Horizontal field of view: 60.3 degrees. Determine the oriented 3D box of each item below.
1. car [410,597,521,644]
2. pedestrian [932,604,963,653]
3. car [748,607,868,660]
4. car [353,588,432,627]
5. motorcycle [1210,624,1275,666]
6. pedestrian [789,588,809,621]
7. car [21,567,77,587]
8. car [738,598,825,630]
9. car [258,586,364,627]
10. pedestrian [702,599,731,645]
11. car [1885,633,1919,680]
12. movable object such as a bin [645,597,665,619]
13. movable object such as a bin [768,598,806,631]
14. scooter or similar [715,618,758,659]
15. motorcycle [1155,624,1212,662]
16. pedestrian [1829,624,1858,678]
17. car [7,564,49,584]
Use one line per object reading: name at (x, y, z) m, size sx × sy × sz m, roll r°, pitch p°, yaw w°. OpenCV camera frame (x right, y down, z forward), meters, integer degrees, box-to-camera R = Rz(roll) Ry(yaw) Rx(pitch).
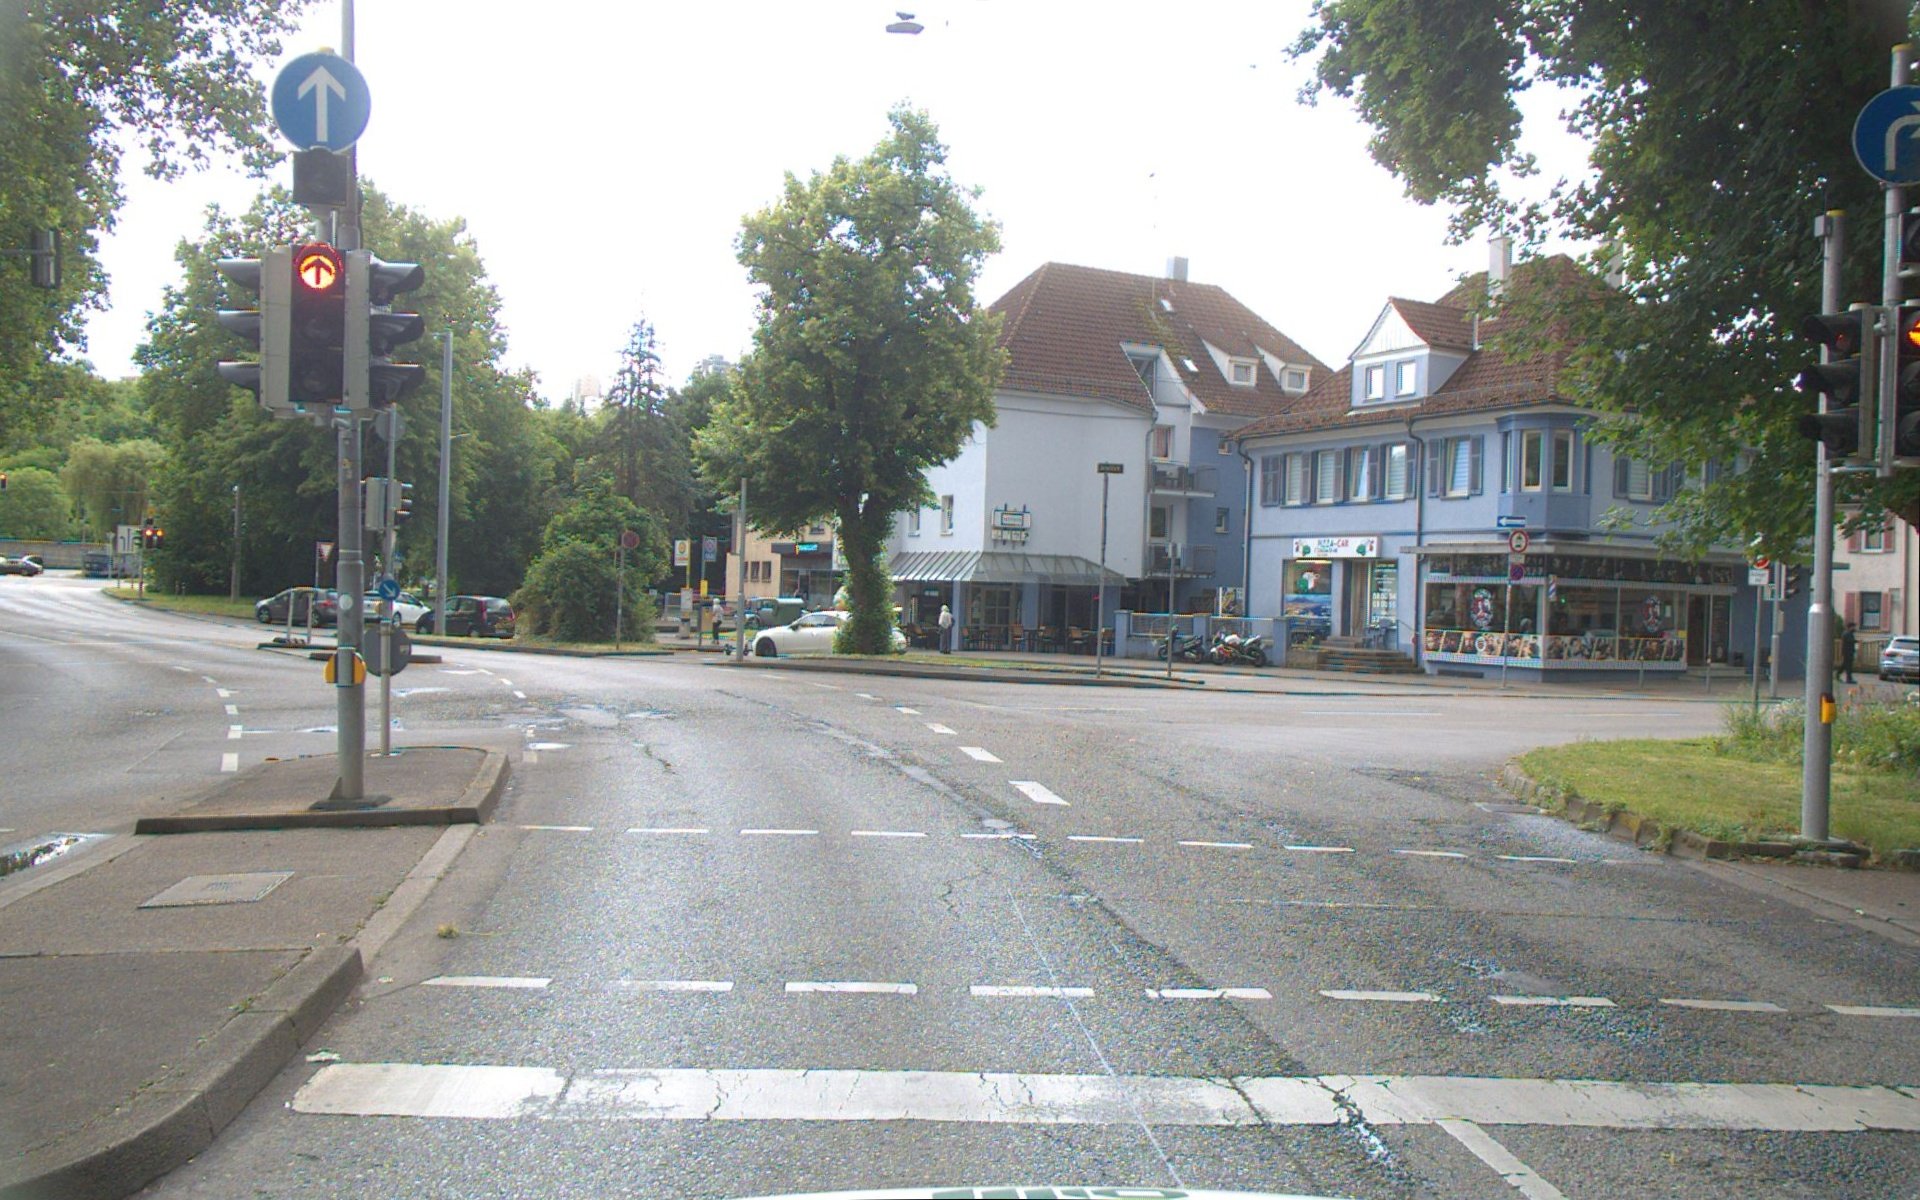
car at (-16.006, 0.662, 53.461) m, size 3.519 × 1.418 × 1.468 m, roll 1°, pitch 0°, yaw 32°
pedestrian at (-0.404, 0.925, 53.876) m, size 0.754 × 1.572 × 0.675 m, roll 1°, pitch -1°, yaw 38°
car at (-4.243, 0.919, 45.958) m, size 3.110 × 1.378 × 1.435 m, roll 1°, pitch 0°, yaw 34°
car at (-22.668, 0.310, 66.182) m, size 1.512 × 1.490 × 3.398 m, roll 1°, pitch 0°, yaw 10°
motorcycle at (8.275, 1.311, 48.481) m, size 1.765 × 1.141 × 0.692 m, roll 1°, pitch 0°, yaw 38°
pedestrian at (-7.692, 0.217, 79.059) m, size 0.670 × 1.572 × 0.699 m, roll 2°, pitch 0°, yaw -35°
car at (-79.793, -2.005, 144.945) m, size 3.923 × 1.578 × 1.860 m, roll 1°, pitch 0°, yaw -17°
car at (-8.159, 0.644, 75.731) m, size 3.690 × 1.368 × 1.421 m, roll 1°, pitch 0°, yaw -27°
car at (-24.859, 0.248, 63.392) m, size 3.469 × 1.490 × 1.586 m, roll 1°, pitch 0°, yaw 12°
pedestrian at (-8.534, 0.768, 58.012) m, size 0.694 × 1.572 × 0.675 m, roll 1°, pitch 0°, yaw 39°
car at (29.853, 1.738, 51.416) m, size 1.471 × 1.393 × 3.164 m, roll 1°, pitch 0°, yaw 37°
movable object such as a bin at (-15.854, 0.398, 85.913) m, size 0.937 × 1.135 × 0.381 m, roll 1°, pitch 0°, yaw -22°
movable object such as a bin at (-7.719, 0.660, 73.841) m, size 1.424 × 1.433 × 0.959 m, roll 1°, pitch 0°, yaw -27°
scooter or similar at (-5.728, 0.984, 42.541) m, size 0.408 × 1.029 × 1.567 m, roll 1°, pitch 0°, yaw 20°
motorcycle at (6.794, 1.294, 50.237) m, size 1.609 × 1.082 × 0.690 m, roll 1°, pitch 0°, yaw 44°
pedestrian at (25.355, 1.453, 47.460) m, size 0.453 × 1.544 × 0.582 m, roll 1°, pitch -1°, yaw -29°
car at (-102.225, -2.816, 181.481) m, size 3.948 × 2.049 × 1.978 m, roll 1°, pitch 0°, yaw -32°
